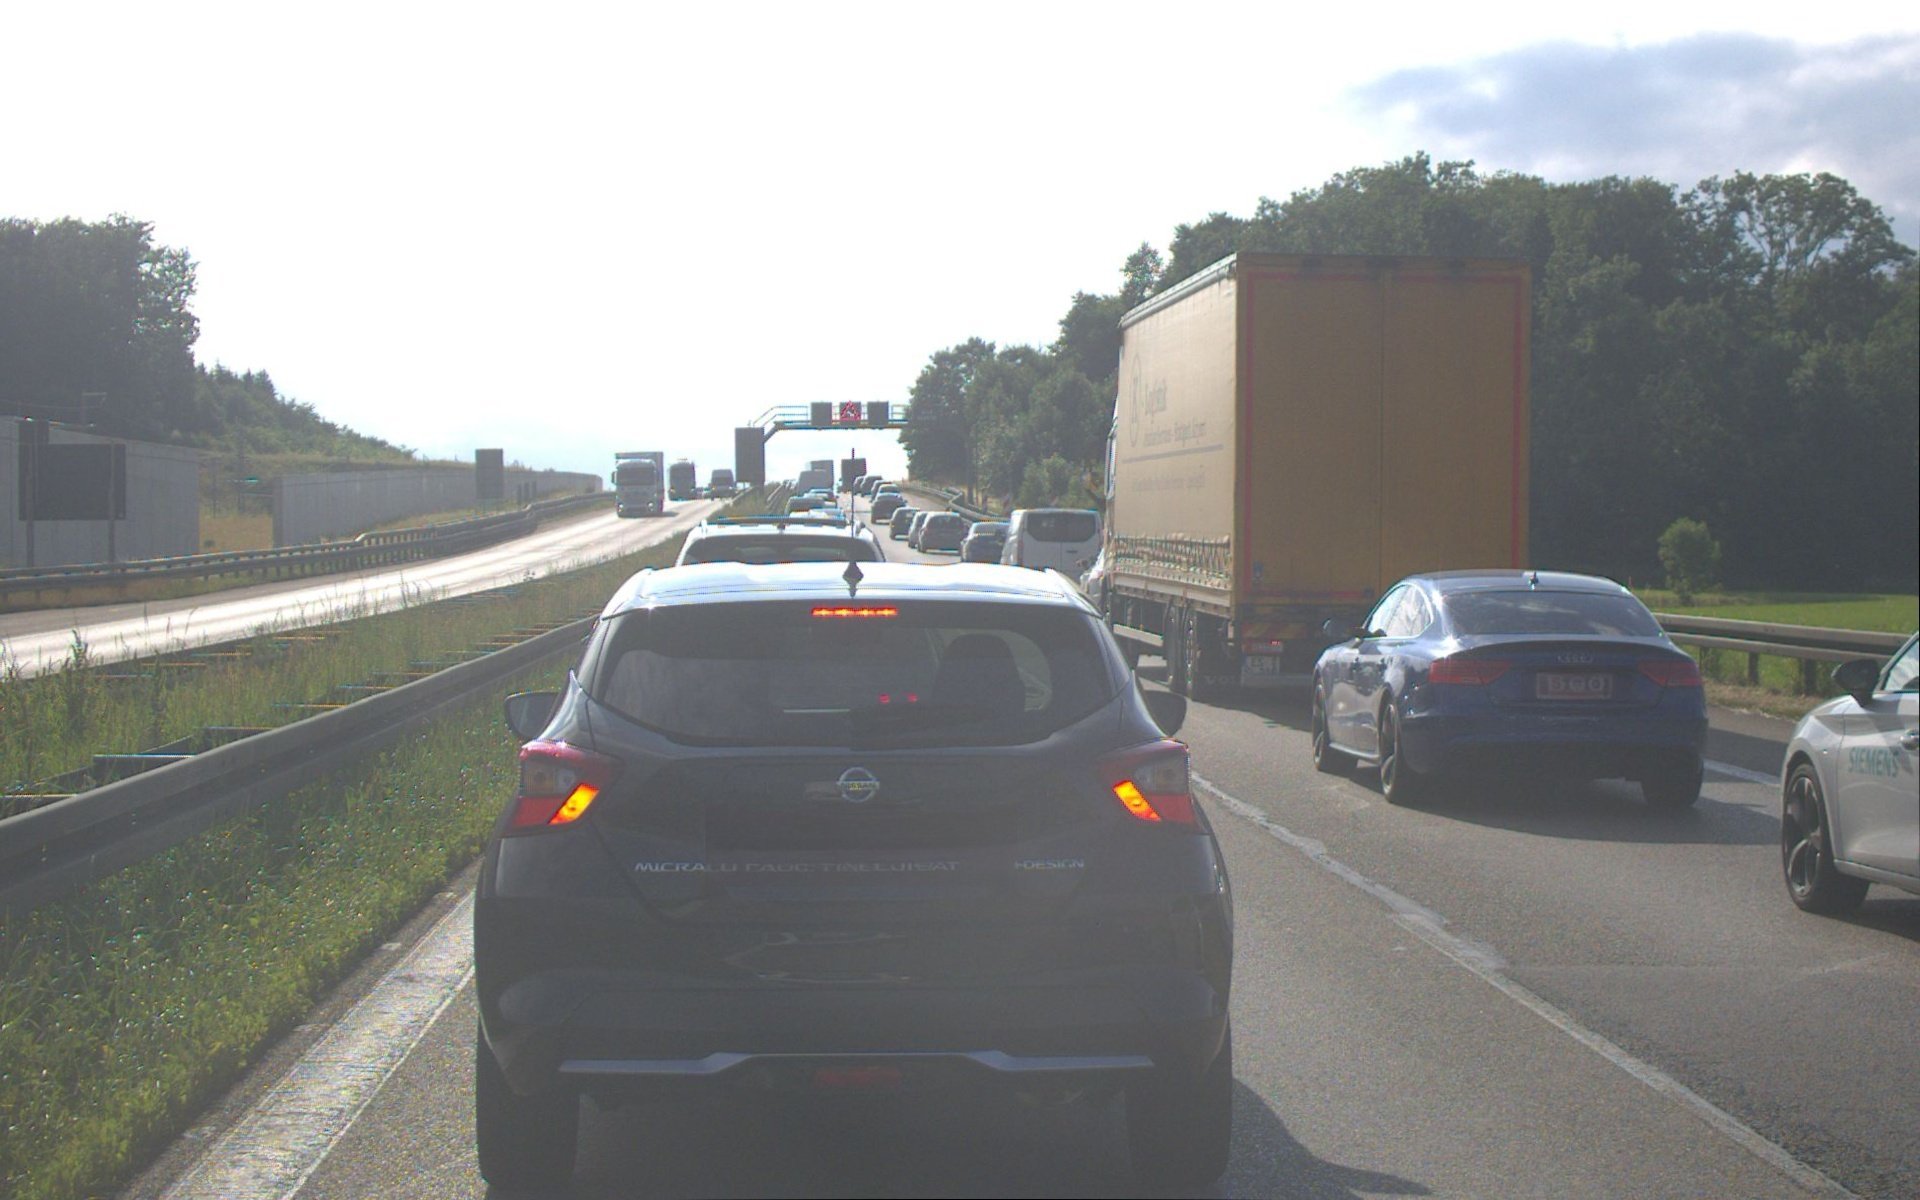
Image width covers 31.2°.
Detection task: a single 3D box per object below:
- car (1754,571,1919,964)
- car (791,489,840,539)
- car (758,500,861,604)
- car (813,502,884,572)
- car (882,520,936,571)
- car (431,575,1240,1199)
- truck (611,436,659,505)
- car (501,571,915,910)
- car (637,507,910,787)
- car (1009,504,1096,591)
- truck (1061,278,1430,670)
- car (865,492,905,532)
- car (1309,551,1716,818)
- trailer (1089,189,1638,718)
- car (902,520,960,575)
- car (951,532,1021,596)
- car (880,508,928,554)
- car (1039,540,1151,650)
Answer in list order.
[{"bbox_3d":[4.348,0.627,12.701,1.620,1.440,4.147,1,0,-4],"label":"car"},{"bbox_3d":[-6.061,-3.600,144.028,1.993,2.007,4.001,1,1,-3],"label":"car"},{"bbox_3d":[-3.051,-0.958,69.375,1.993,2.007,4.001,1,1,-3],"label":"car"},{"bbox_3d":[-3.312,-1.835,101.227,1.993,2.007,4.001,1,1,-3],"label":"car"},{"bbox_3d":[-2.089,-2.209,139.552,1.993,2.007,4.001,1,1,-3],"label":"car"},{"bbox_3d":[-0.285,0.657,9.025,1.710,1.421,3.378,1,0,-1],"label":"car"},{"bbox_3d":[-20.555,-8.148,217.401,2.637,4.084,7.003,1,1,-3],"label":"truck"},{"bbox_3d":[-1.067,0.560,15.838,1.674,1.362,3.596,1,0,-1],"label":"car"},{"bbox_3d":[-1.194,0.276,23.145,1.674,1.720,3.596,1,0,-1],"label":"car"},{"bbox_3d":[1.908,-1.091,71.606,1.667,1.748,3.327,1,1,-1],"label":"car"},{"bbox_3d":[3.323,-1.450,42.128,3.581,4.364,6.689,1,1,-3],"label":"truck"},{"bbox_3d":[-4.024,-4.689,183.732,1.993,2.007,4.001,1,1,-3],"label":"car"},{"bbox_3d":[3.292,0.451,21.249,1.747,1.470,4.147,1,0,-1],"label":"car"},{"bbox_3d":[3.677,-1.309,35.609,3.548,4.442,12.723,1,1,-3],"label":"trailer"},{"bbox_3d":[-1.115,-1.987,130.194,1.993,2.007,4.001,1,1,-3],"label":"car"},{"bbox_3d":[0.827,-1.176,111.657,1.993,2.007,4.001,1,1,-3],"label":"car"},{"bbox_3d":[-2.514,-3.063,153.578,1.993,2.007,4.001,1,1,-3],"label":"car"},{"bbox_3d":[2.212,-0.105,57.046,1.667,1.748,3.327,1,1,-1],"label":"car"}]
